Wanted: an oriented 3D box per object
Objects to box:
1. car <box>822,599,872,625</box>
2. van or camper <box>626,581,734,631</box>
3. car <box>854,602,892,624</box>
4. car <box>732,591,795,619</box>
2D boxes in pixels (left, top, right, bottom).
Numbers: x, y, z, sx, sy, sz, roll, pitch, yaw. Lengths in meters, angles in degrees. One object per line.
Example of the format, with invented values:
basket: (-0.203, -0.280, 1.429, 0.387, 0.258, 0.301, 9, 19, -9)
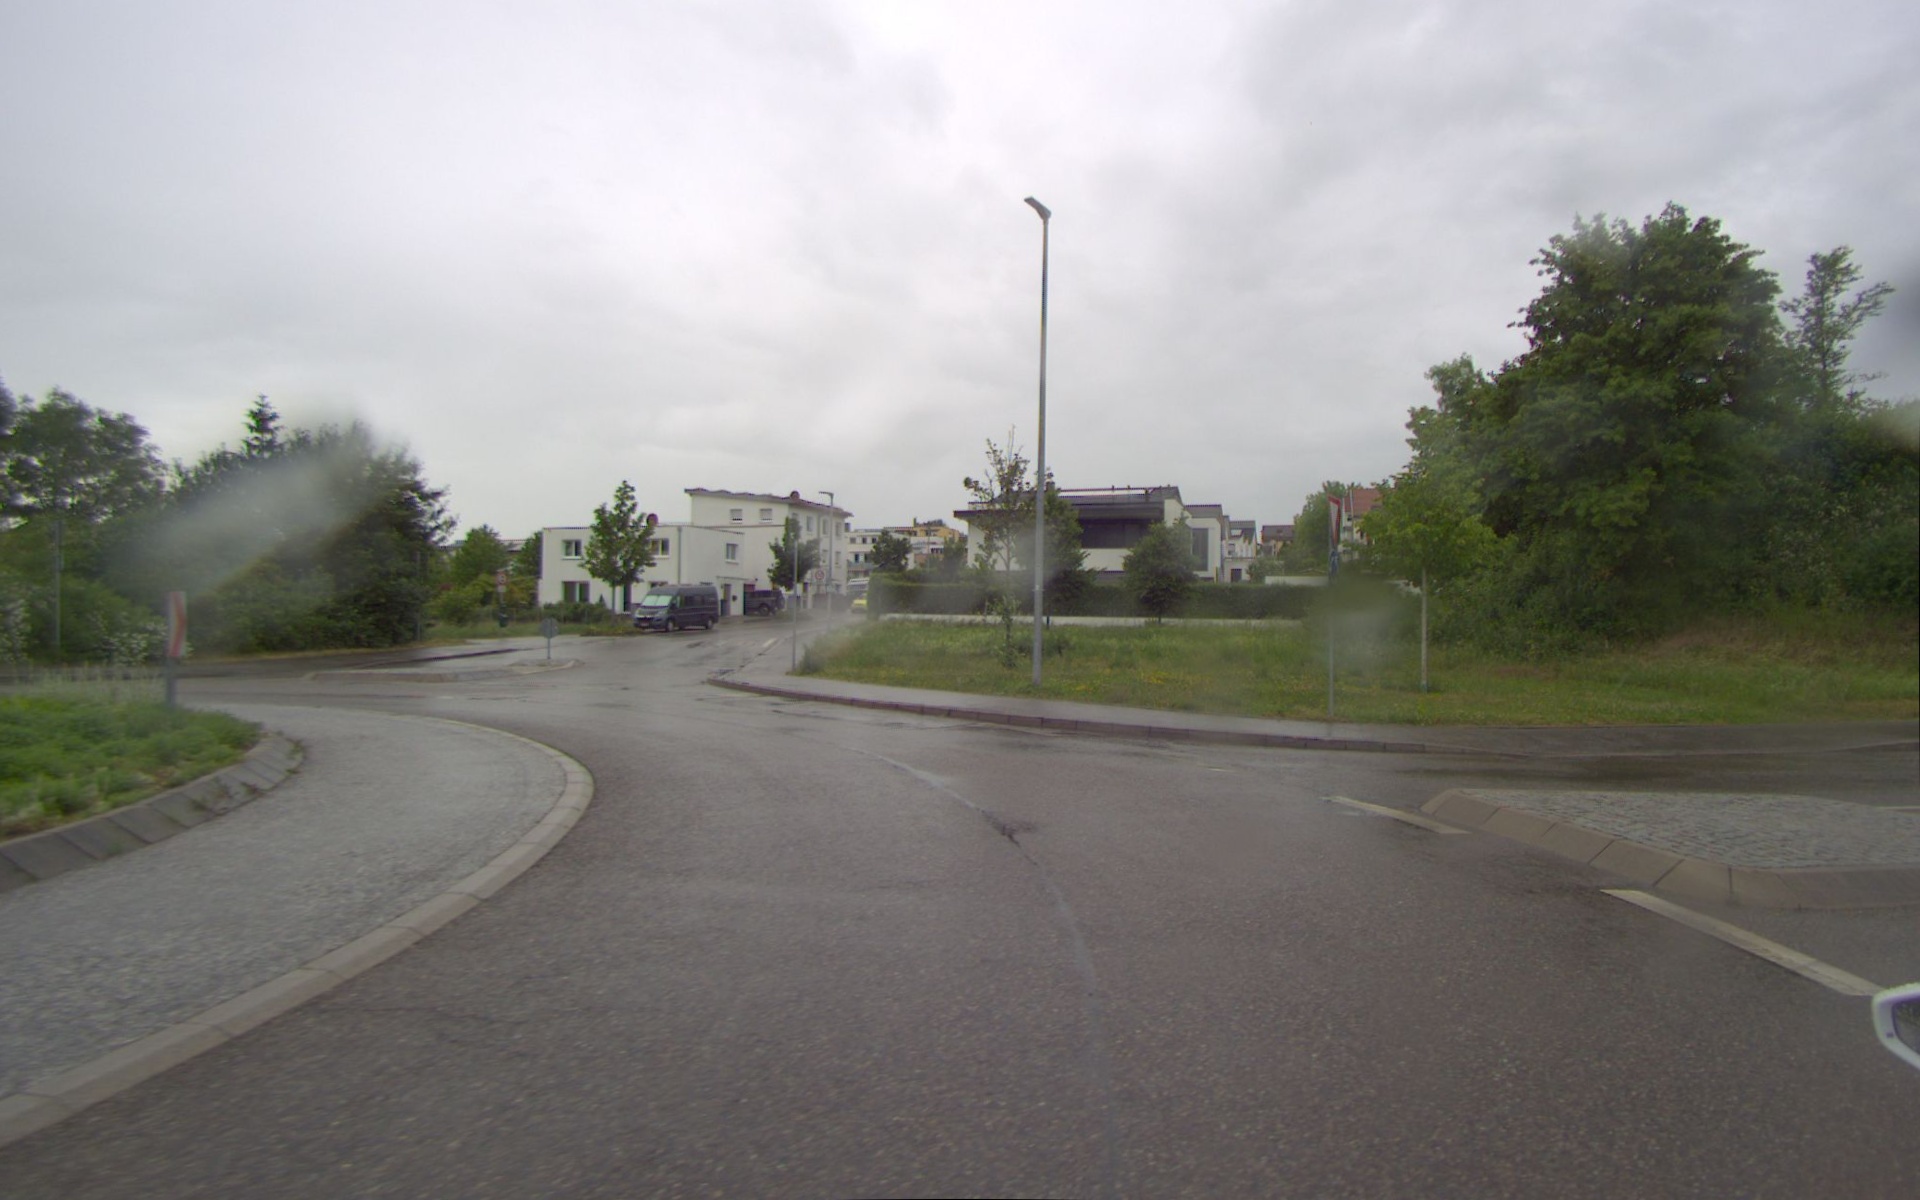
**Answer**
car: (-9.323, 1.005, 82.970, 3.640, 2.040, 1.757, 2, -1, 12)
van or camper: (-15.295, 0.328, 55.282, 2.482, 2.527, 6.206, 1, 0, 21)
car: (-6.902, 1.028, 79.949, 1.652, 1.680, 3.576, 1, 0, 18)
car: (-14.395, 0.348, 73.652, 4.128, 1.865, 1.792, 2, -1, 12)
